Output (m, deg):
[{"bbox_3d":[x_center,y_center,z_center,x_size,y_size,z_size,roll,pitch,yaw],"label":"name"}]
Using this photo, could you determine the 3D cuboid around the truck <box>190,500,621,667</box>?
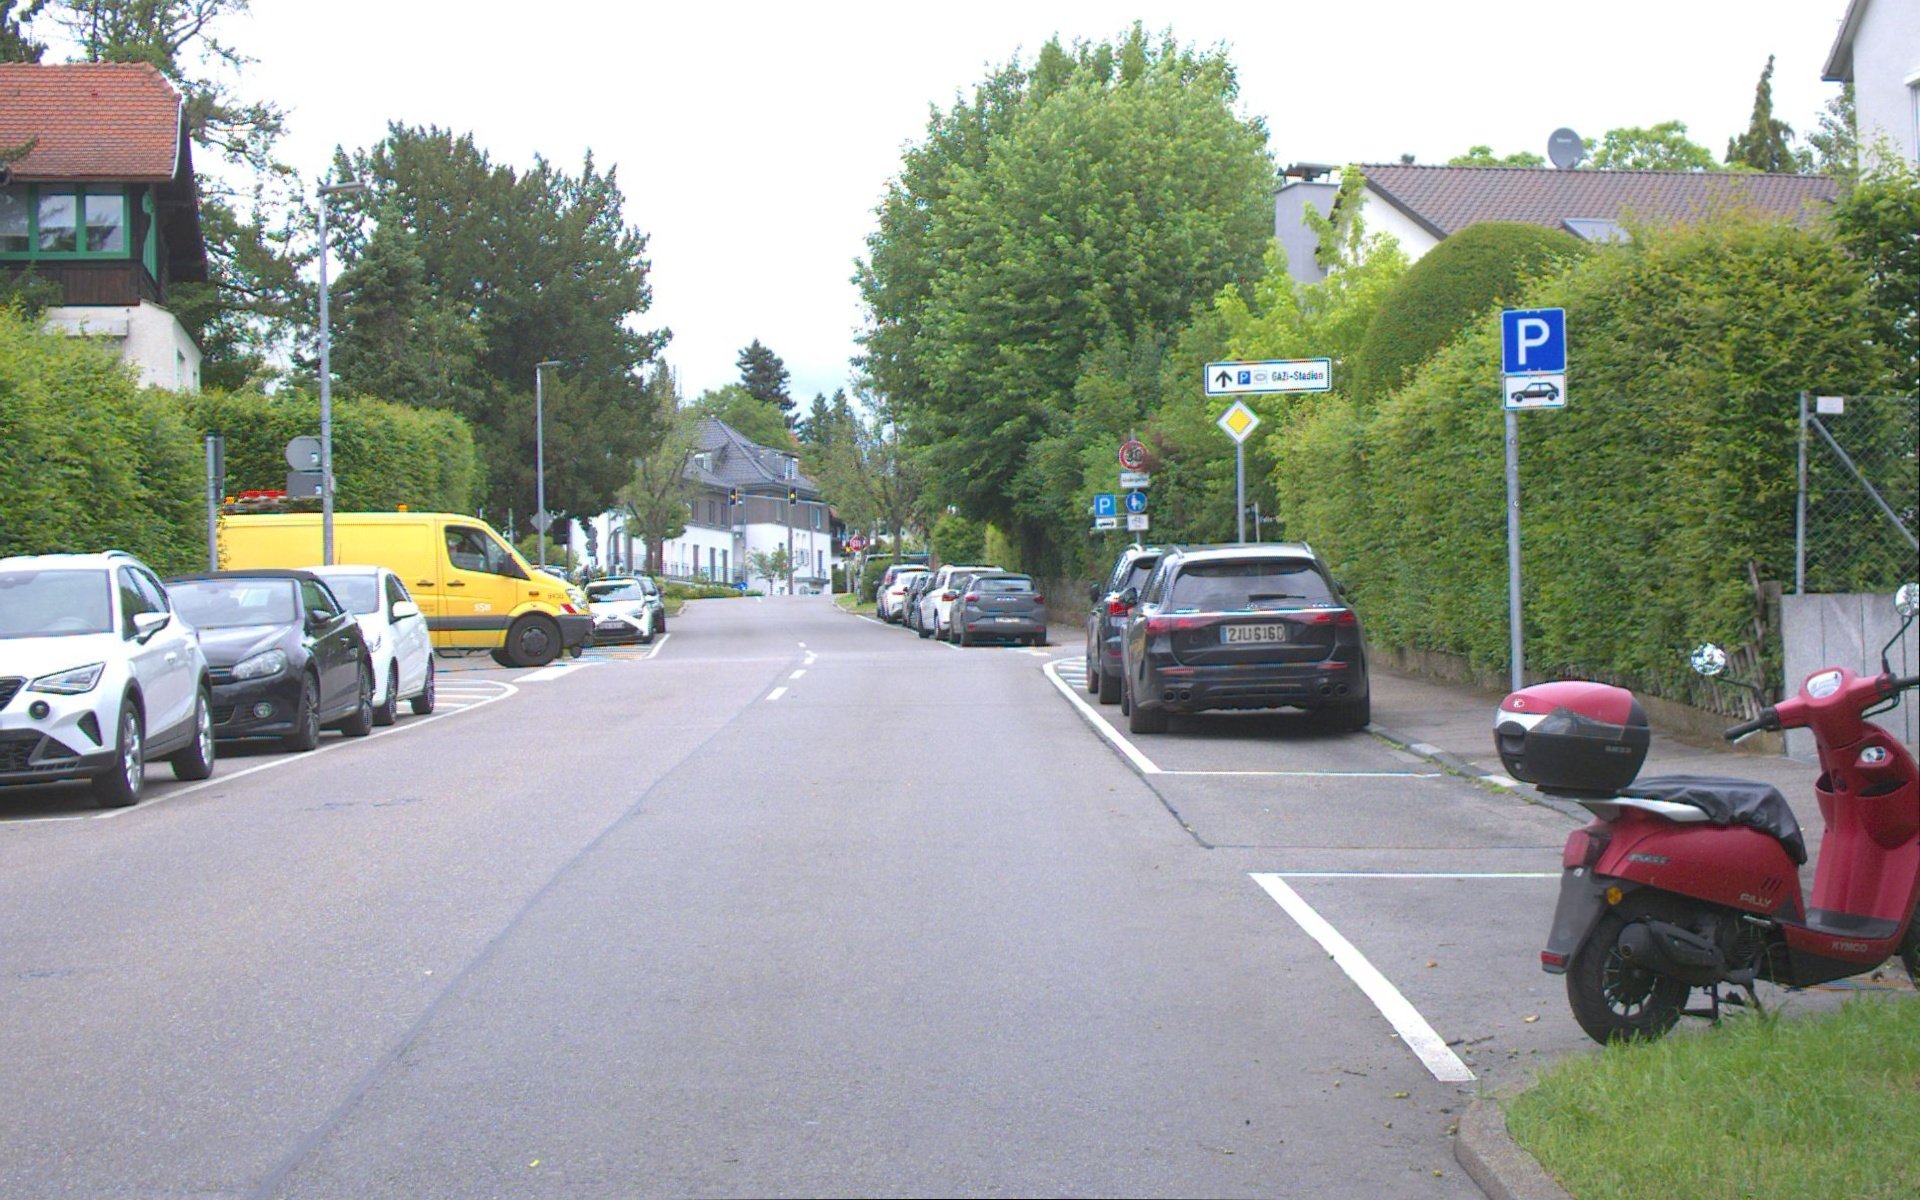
[{"bbox_3d":[-8.256,-0.222,50.997,5.930,2.301,2.826,0,-2,-18],"label":"truck"}]

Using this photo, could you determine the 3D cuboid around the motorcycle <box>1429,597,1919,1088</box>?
[{"bbox_3d":[2.343,0.688,10.553,1.863,1.342,0.599,-2,1,-36],"label":"motorcycle"}]

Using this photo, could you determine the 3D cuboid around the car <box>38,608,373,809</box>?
[{"bbox_3d":[-5.900,0.814,27.329,1.762,1.383,4.000,-3,0,-1],"label":"car"}]

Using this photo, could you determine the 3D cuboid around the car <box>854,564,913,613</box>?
[{"bbox_3d":[-2.449,-0.374,110.032,1.664,1.495,3.468,-1,1,-5],"label":"car"}]

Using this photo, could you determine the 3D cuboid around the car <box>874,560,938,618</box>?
[{"bbox_3d":[-1.641,-0.343,103.204,1.664,1.662,3.468,-1,1,-5],"label":"car"}]

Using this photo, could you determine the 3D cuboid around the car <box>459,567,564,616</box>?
[{"bbox_3d":[-16.789,-0.329,128.780,3.843,1.731,1.642,-1,1,-8],"label":"car"}]

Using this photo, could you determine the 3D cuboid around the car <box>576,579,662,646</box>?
[{"bbox_3d":[-7.656,0.267,76.960,1.664,1.395,3.468,-1,1,-9],"label":"car"}]

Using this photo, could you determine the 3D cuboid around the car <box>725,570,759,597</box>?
[{"bbox_3d":[-12.152,-0.918,191.605,1.822,1.415,4.001,-1,1,-4],"label":"car"}]

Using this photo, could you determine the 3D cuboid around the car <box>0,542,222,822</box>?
[{"bbox_3d":[-5.795,0.450,21.275,1.722,1.535,4.001,-2,1,-3],"label":"car"}]

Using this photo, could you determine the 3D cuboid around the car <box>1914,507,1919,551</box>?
[{"bbox_3d":[7.940,-0.127,19.439,4.364,1.463,1.968,-8,1,-2],"label":"car"}]

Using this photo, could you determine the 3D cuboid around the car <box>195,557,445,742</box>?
[{"bbox_3d":[-5.932,0.413,32.218,1.630,1.518,3.638,-3,1,-1],"label":"car"}]

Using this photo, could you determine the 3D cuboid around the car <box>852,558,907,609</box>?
[{"bbox_3d":[-2.785,-0.578,118.293,1.643,1.662,3.468,-1,1,-5],"label":"car"}]

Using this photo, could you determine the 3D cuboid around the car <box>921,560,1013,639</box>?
[{"bbox_3d":[0.139,-0.027,76.211,1.713,1.652,3.623,-1,1,-5],"label":"car"}]

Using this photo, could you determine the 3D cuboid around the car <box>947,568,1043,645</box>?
[{"bbox_3d":[0.700,0.114,71.451,1.664,1.495,3.468,-1,1,-5],"label":"car"}]

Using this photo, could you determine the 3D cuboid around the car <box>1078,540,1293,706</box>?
[{"bbox_3d":[2.174,0.177,34.282,1.882,1.528,4.475,0,1,0],"label":"car"}]

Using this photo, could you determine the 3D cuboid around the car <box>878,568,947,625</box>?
[{"bbox_3d":[-1.347,-0.111,96.087,1.664,1.495,3.468,-1,1,-5],"label":"car"}]

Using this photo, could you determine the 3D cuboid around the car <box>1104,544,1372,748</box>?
[{"bbox_3d":[2.202,0.309,28.308,1.882,1.528,4.475,0,1,0],"label":"car"}]
